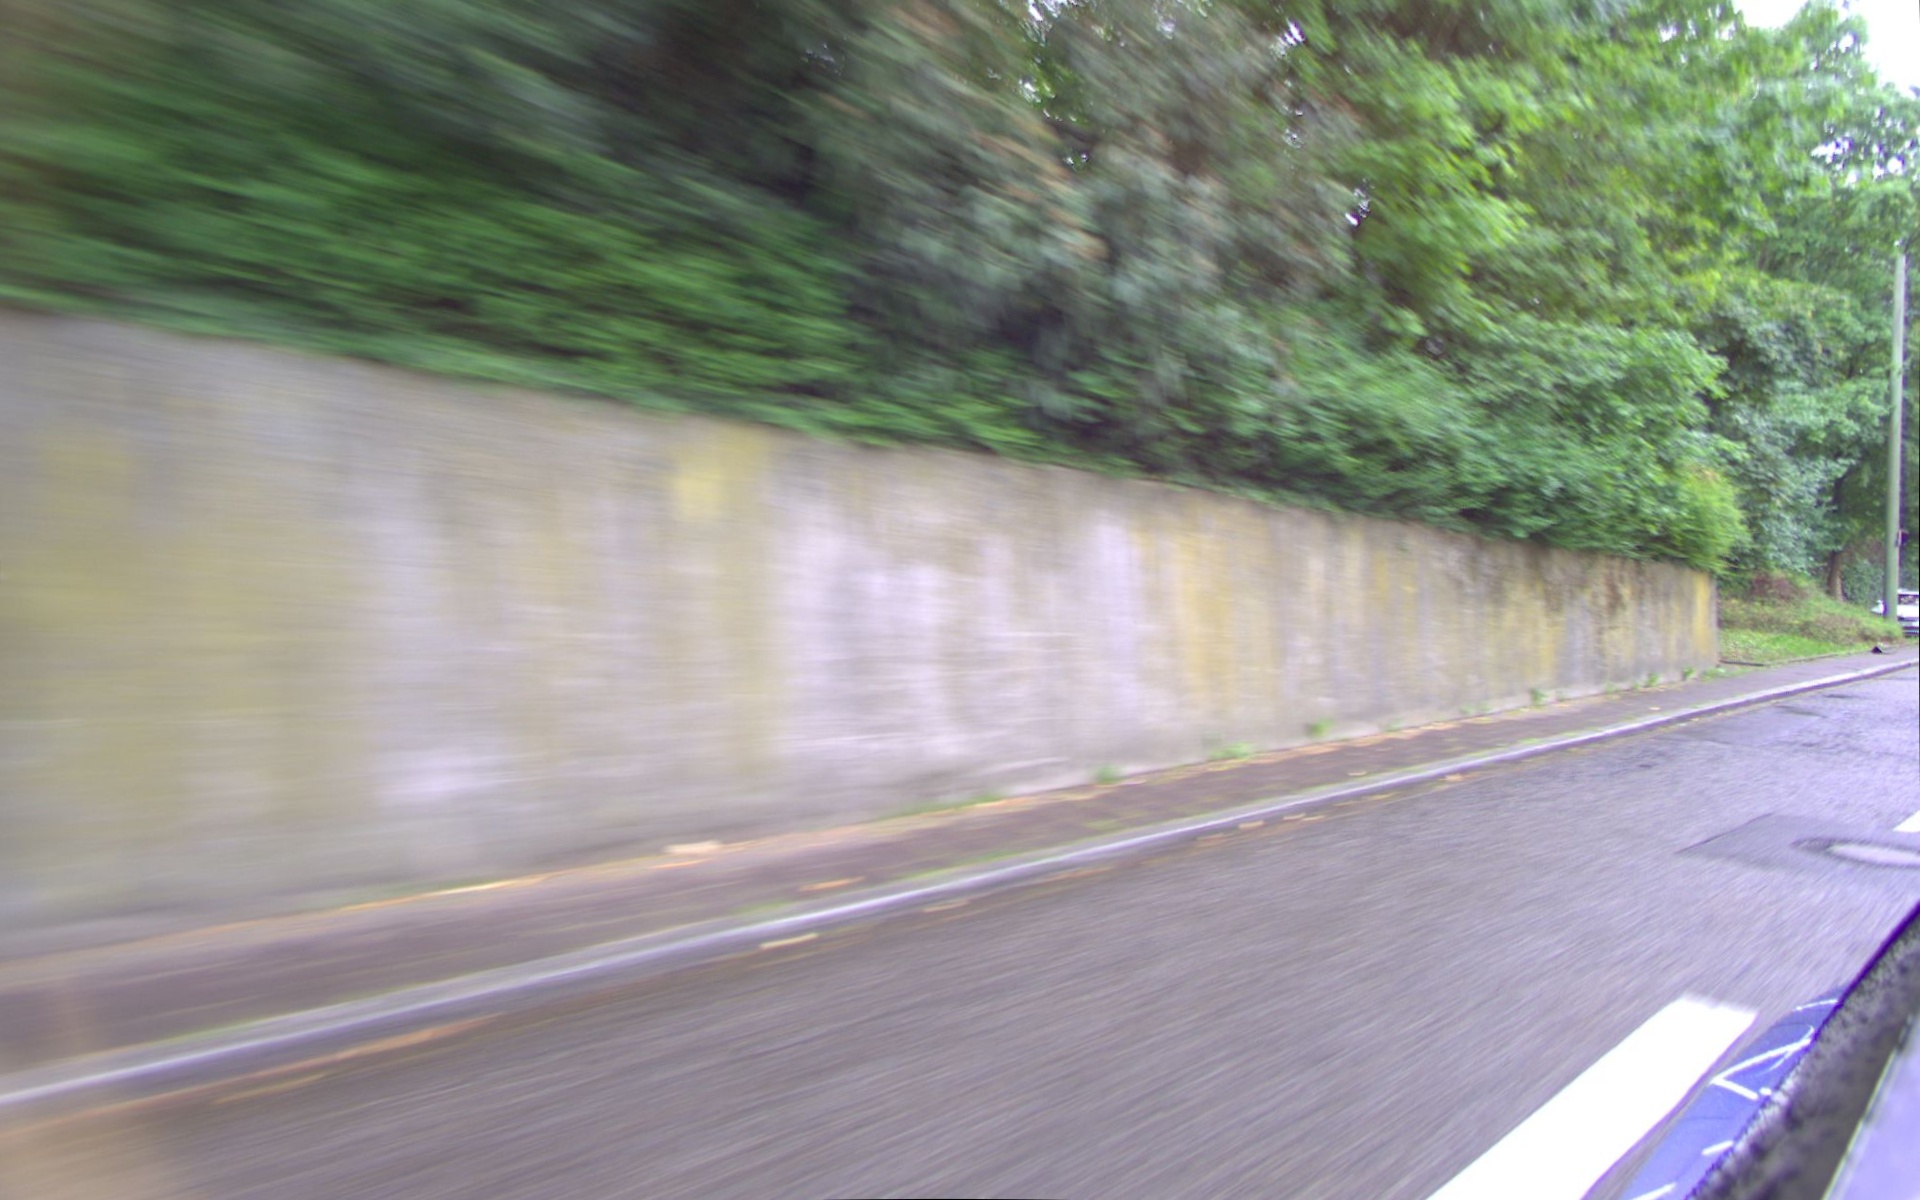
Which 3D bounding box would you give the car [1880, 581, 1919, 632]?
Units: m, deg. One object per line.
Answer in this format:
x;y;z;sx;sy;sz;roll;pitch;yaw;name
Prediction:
30.774;0.204;31.898;4.652;1.495;1.744;0;4;-38;car
